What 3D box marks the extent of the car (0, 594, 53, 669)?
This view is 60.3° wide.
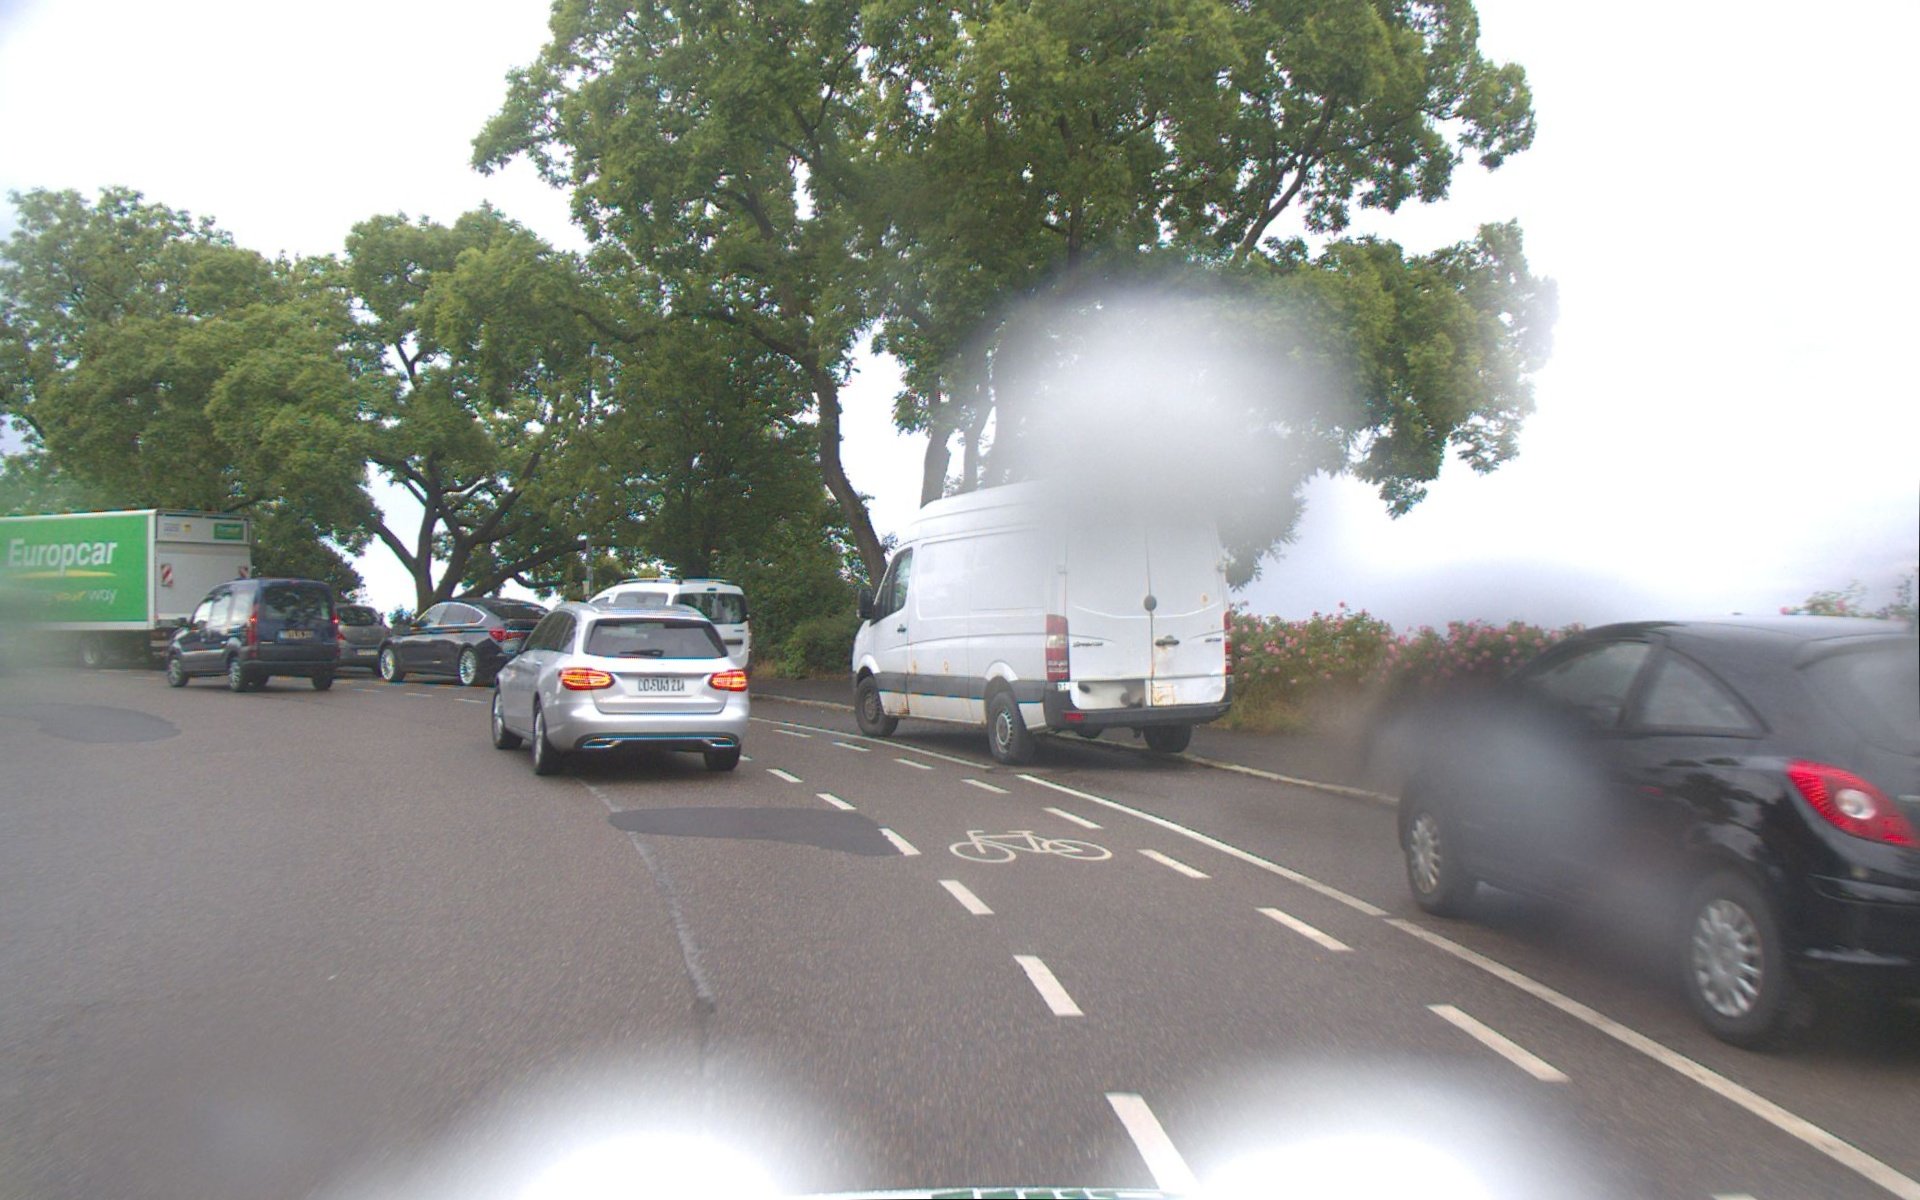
[{"bbox_3d":[-20.941,0.654,34.210,4.001,1.484,1.858,0,1,26],"label":"car"}]

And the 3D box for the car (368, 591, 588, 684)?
[{"bbox_3d":[-9.073,0.649,30.899,4.813,1.569,1.853,0,1,45],"label":"car"}]

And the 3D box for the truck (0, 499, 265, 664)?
[{"bbox_3d":[-20.471,-0.411,38.577,8.728,3.531,2.780,0,0,26],"label":"truck"}]

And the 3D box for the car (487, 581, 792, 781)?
[{"bbox_3d":[-3.133,0.669,15.443,1.956,1.581,4.267,1,-1,-23],"label":"car"}]

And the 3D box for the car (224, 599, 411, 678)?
[{"bbox_3d":[-13.372,0.766,34.359,4.053,1.529,1.733,0,1,37],"label":"car"}]

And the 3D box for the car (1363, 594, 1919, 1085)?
[{"bbox_3d":[3.319,0.759,7.159,1.664,1.469,3.940,2,0,-9],"label":"car"}]

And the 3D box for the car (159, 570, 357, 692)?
[{"bbox_3d":[-12.100,0.480,28.383,1.816,1.915,4.029,-1,1,-44],"label":"car"}]

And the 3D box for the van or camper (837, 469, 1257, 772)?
[{"bbox_3d":[0.633,0.138,17.441,2.039,2.625,5.845,-1,1,-23],"label":"van or camper"}]

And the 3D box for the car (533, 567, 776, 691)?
[{"bbox_3d":[-5.047,0.429,26.953,4.349,1.853,1.740,0,1,45],"label":"car"}]
